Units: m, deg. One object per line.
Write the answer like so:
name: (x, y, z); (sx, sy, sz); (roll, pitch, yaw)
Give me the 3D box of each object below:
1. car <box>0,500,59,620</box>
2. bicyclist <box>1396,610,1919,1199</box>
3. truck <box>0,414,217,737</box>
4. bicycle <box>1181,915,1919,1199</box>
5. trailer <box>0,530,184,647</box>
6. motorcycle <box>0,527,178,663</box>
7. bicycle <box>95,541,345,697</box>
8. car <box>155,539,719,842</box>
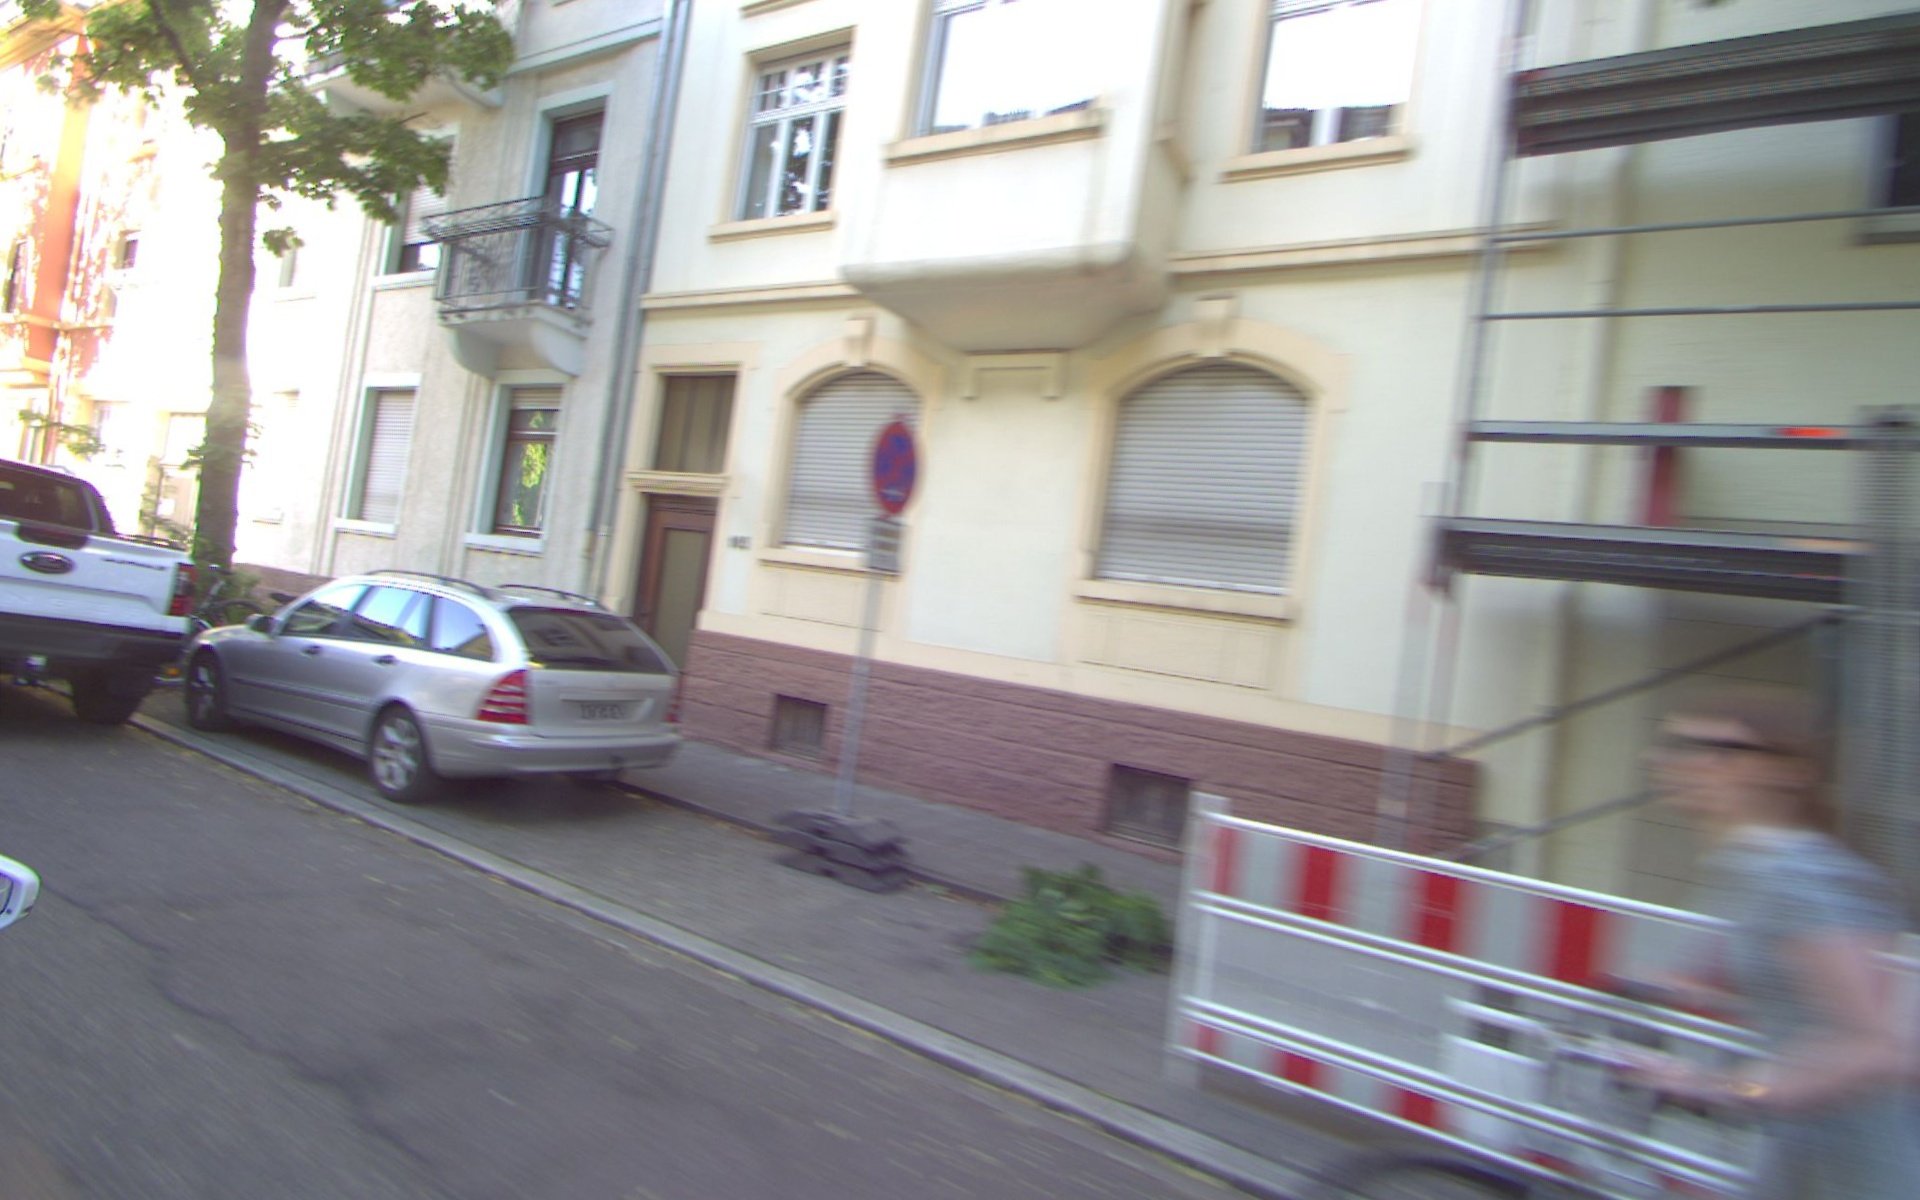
car: (-14.942, -0.814, 14.412); (4.703, 1.547, 1.754); (7, -2, 33)
bicyclist: (1.325, 0.958, 1.650); (0.966, 1.706, 0.716); (6, -5, 38)
truck: (-8.150, -0.405, 7.761); (5.449, 1.970, 1.833); (7, -3, 32)
bicycle: (1.331, 1.300, 1.598); (1.830, 1.055, 0.707); (6, -6, 37)
trailer: (-10.431, -0.147, 11.513); (1.095, 1.124, 2.090); (8, -3, 18)
motorcycle: (-9.370, -0.025, 10.712); (0.690, 1.254, 1.764); (9, -3, -7)
bicycle: (-7.212, 0.233, 9.907); (0.576, 1.320, 1.764); (7, -2, 30)
car: (-4.086, 0.527, 7.631); (4.356, 1.439, 1.683); (7, -1, 32)
